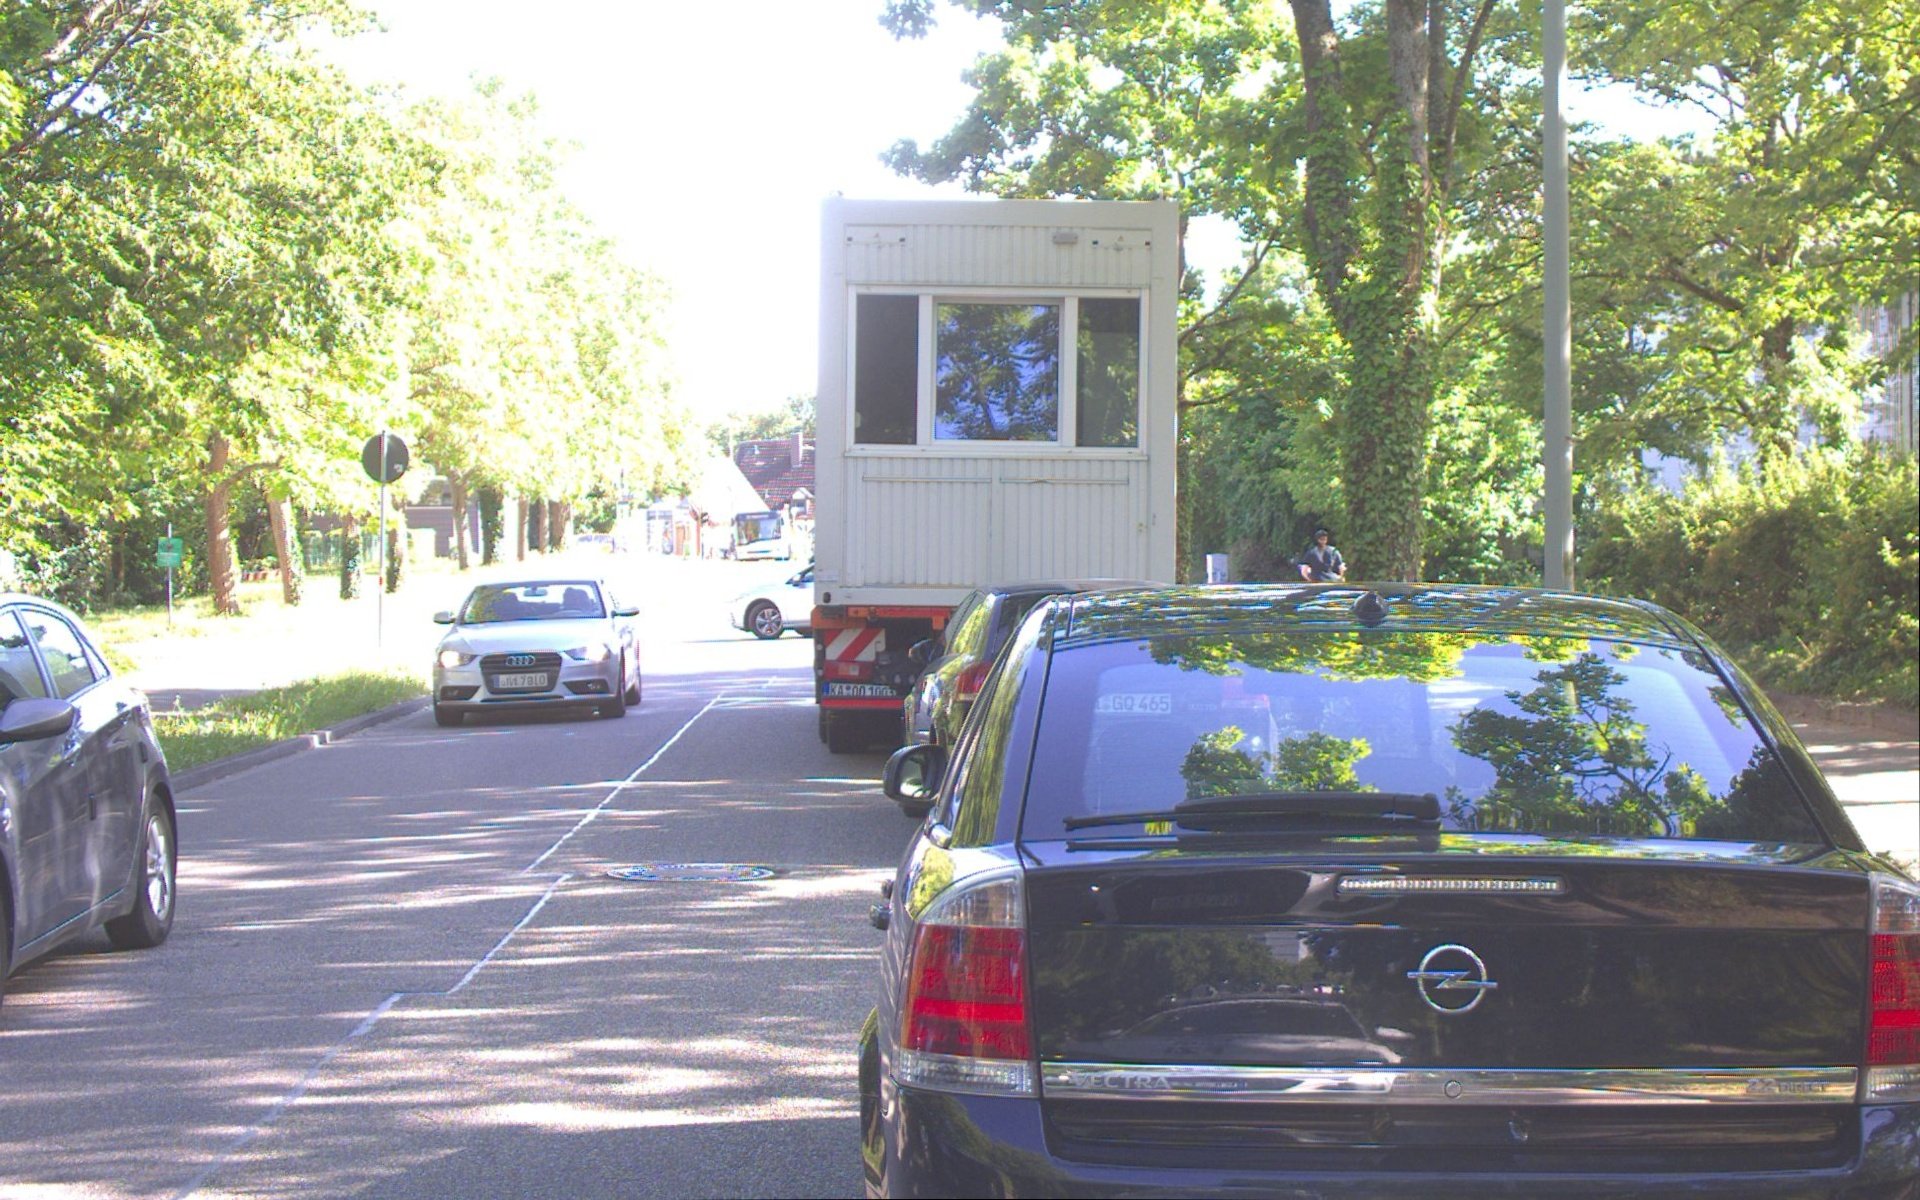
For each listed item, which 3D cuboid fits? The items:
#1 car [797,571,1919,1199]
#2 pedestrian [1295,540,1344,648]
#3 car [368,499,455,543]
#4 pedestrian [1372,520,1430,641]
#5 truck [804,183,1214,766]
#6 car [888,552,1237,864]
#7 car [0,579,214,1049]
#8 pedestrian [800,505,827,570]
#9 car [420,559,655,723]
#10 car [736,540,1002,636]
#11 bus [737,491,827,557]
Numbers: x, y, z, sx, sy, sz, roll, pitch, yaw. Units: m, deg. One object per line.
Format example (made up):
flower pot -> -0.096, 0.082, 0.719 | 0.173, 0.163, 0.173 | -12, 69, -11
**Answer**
car -> 0.668, 0.688, 6.652 | 1.748, 1.475, 4.030 | 0, 1, 0
pedestrian -> 5.462, -0.094, 52.248 | 0.598, 1.605, 0.600 | -2, 1, -4
car -> -27.450, -3.964, 172.102 | 3.987, 2.007, 2.000 | -2, 1, 0
pedestrian -> 6.719, -0.301, 52.441 | 0.698, 1.806, 0.700 | -2, 1, -4
truck -> 0.158, -0.969, 28.851 | 2.772, 3.982, 10.349 | 1, 1, -2
car -> 0.521, 0.497, 18.639 | 1.640, 1.415, 4.000 | -2, 1, 1
car -> -3.984, 0.720, 12.088 | 1.755, 1.449, 4.243 | -2, 1, 0
pedestrian -> -4.765, -2.025, 111.852 | 0.752, 2.106, 0.799 | 1, 1, 2
car -> -4.122, 0.359, 34.145 | 1.786, 1.412, 4.105 | -2, 1, 0
car -> -1.507, -0.196, 56.750 | 3.951, 1.415, 1.809 | -2, 1, 24
bus -> -9.439, -4.068, 183.579 | 4.065, 3.337, 9.801 | -2, 1, 1
